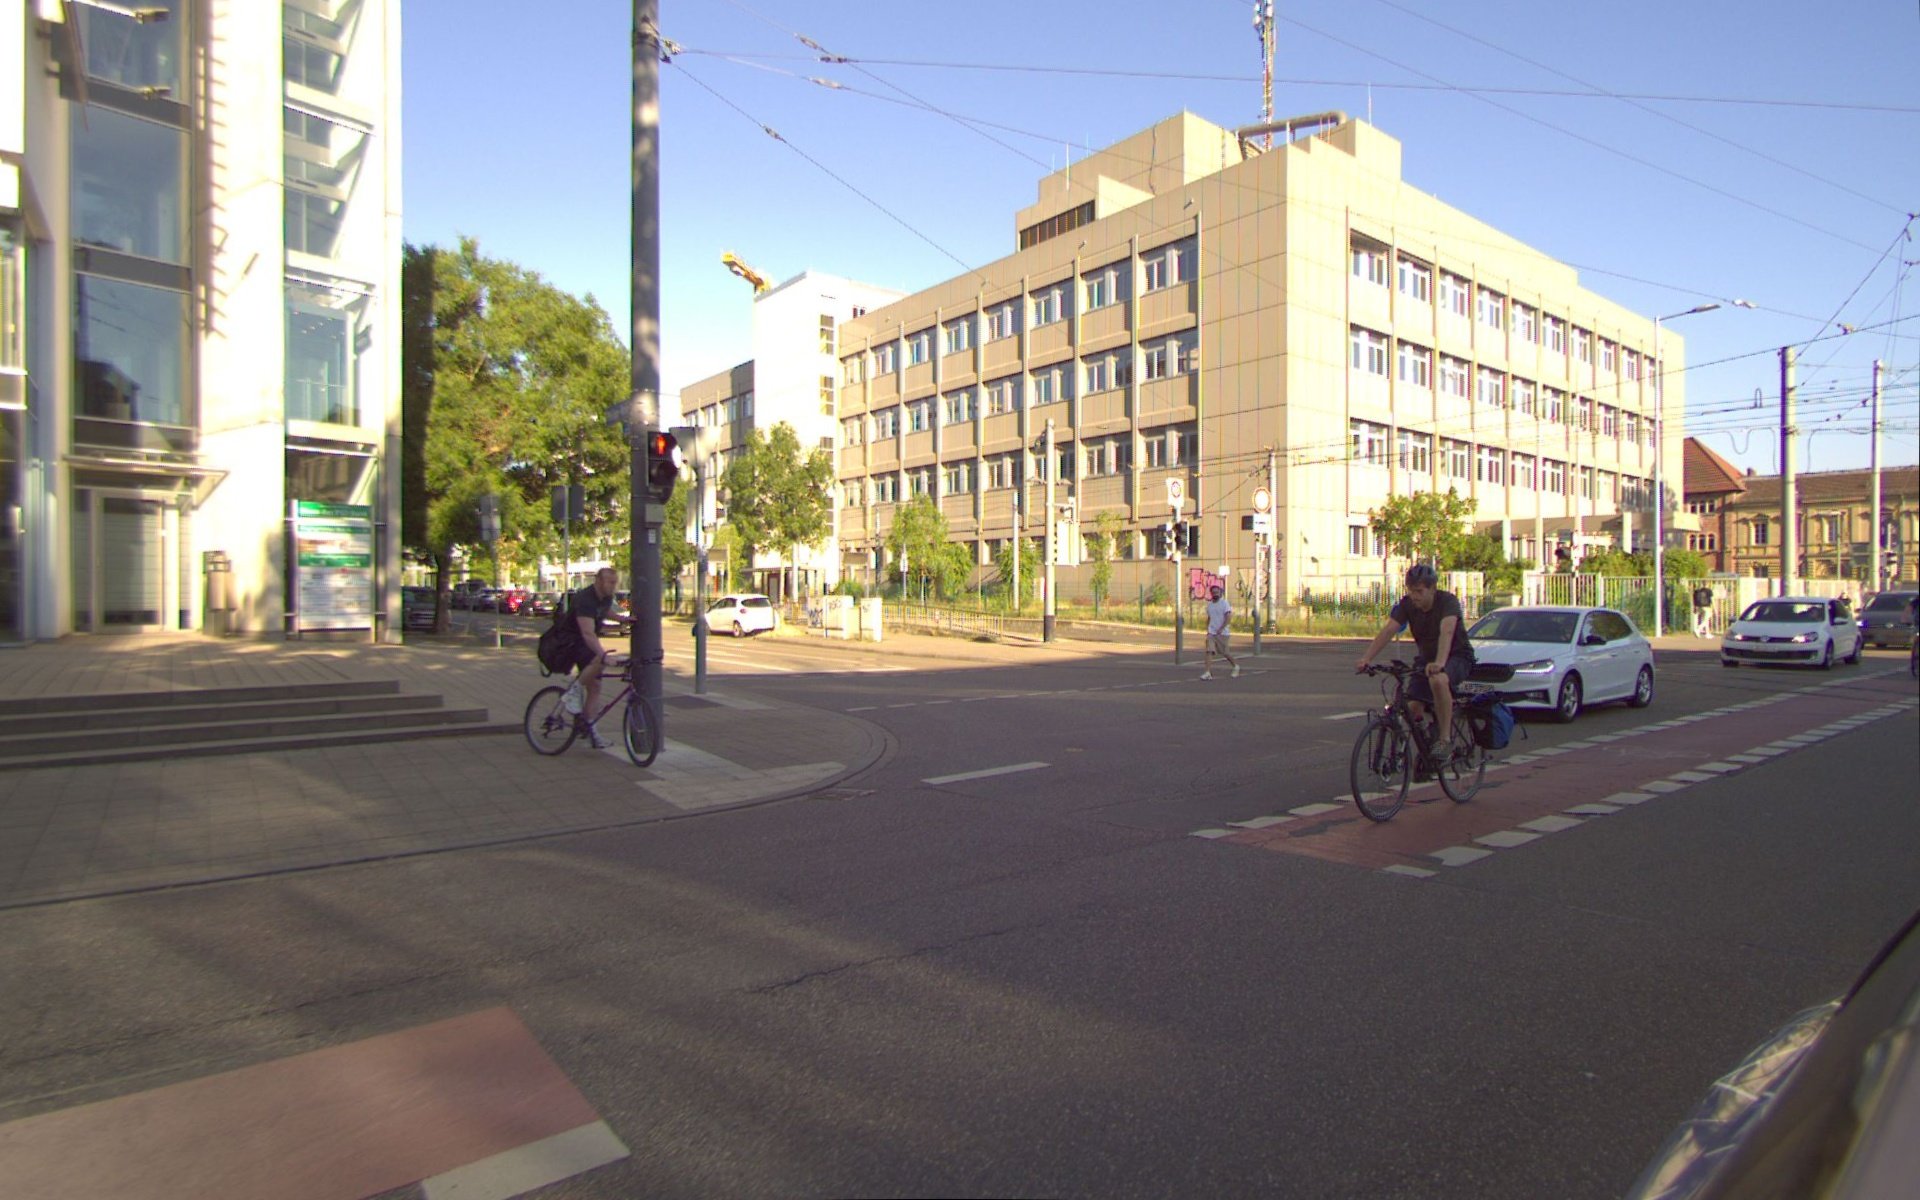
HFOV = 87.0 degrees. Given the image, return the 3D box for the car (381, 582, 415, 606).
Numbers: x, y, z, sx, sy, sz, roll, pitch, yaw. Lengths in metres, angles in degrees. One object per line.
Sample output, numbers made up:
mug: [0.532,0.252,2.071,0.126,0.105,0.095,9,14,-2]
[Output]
car: [-46.985,-0.471,84.583,1.963,1.934,3.997,-1,0,-37]

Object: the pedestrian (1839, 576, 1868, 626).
pedestrian: [32.171,0.021,36.447,0.755,1.784,0.593,0,0,-33]

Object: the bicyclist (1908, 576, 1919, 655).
bicyclist: [18.031,0.272,18.606,0.843,1.440,0.727,-1,-1,-38]

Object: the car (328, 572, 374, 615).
car: [-39.674,-0.391,65.910,2.017,2.708,5.015,-1,-1,-37]

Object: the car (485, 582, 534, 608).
car: [-28.786,-0.339,64.619,1.964,1.621,3.997,-1,1,-38]

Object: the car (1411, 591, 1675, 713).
car: [7.970,0.604,13.715,4.000,1.407,1.705,-1,0,-38]

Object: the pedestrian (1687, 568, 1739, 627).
pedestrian: [23.562,-0.088,31.696,1.064,1.835,0.735,0,0,8]

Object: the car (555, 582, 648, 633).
car: [-12.995,0.256,36.531,1.951,1.717,3.997,2,0,-38]

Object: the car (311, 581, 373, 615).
car: [-28.618,-0.120,46.796,1.951,1.513,4.398,0,1,-38]

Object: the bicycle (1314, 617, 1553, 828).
bicycle: [3.435,0.795,7.273,1.928,1.297,0.652,0,0,-33]

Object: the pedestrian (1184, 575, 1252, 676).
pedestrian: [4.906,0.456,19.224,0.778,1.846,1.196,0,0,45]

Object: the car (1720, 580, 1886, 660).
car: [17.767,0.397,21.277,4.223,1.522,1.792,-1,-2,-38]

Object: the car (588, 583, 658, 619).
car: [-16.097,0.019,48.276,1.964,1.621,3.997,-1,1,-38]

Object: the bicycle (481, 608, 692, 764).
bicycle: [-3.554,0.777,9.636,1.840,1.297,0.649,2,1,16]

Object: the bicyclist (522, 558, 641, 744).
bicyclist: [-3.595,0.456,9.649,0.851,1.693,0.649,0,0,16]

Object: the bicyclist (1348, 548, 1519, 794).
bicyclist: [3.389,0.461,7.238,1.068,1.623,0.652,0,0,-33]

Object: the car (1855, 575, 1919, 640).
car: [26.249,0.183,27.743,4.223,1.664,1.792,-1,-2,-38]

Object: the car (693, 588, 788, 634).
car: [-8.339,0.374,38.251,1.964,1.632,3.997,-1,1,-38]

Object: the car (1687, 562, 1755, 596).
car: [43.338,-1.203,57.585,4.698,1.865,1.998,-1,1,-38]

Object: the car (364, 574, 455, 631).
car: [-17.928,0.045,32.877,1.951,1.717,3.997,0,1,-38]

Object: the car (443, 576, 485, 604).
car: [-35.970,-0.757,73.402,1.964,1.946,3.997,-1,1,-38]

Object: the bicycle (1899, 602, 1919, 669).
bicycle: [17.987,0.635,18.563,2.264,1.158,0.764,-1,1,-38]
